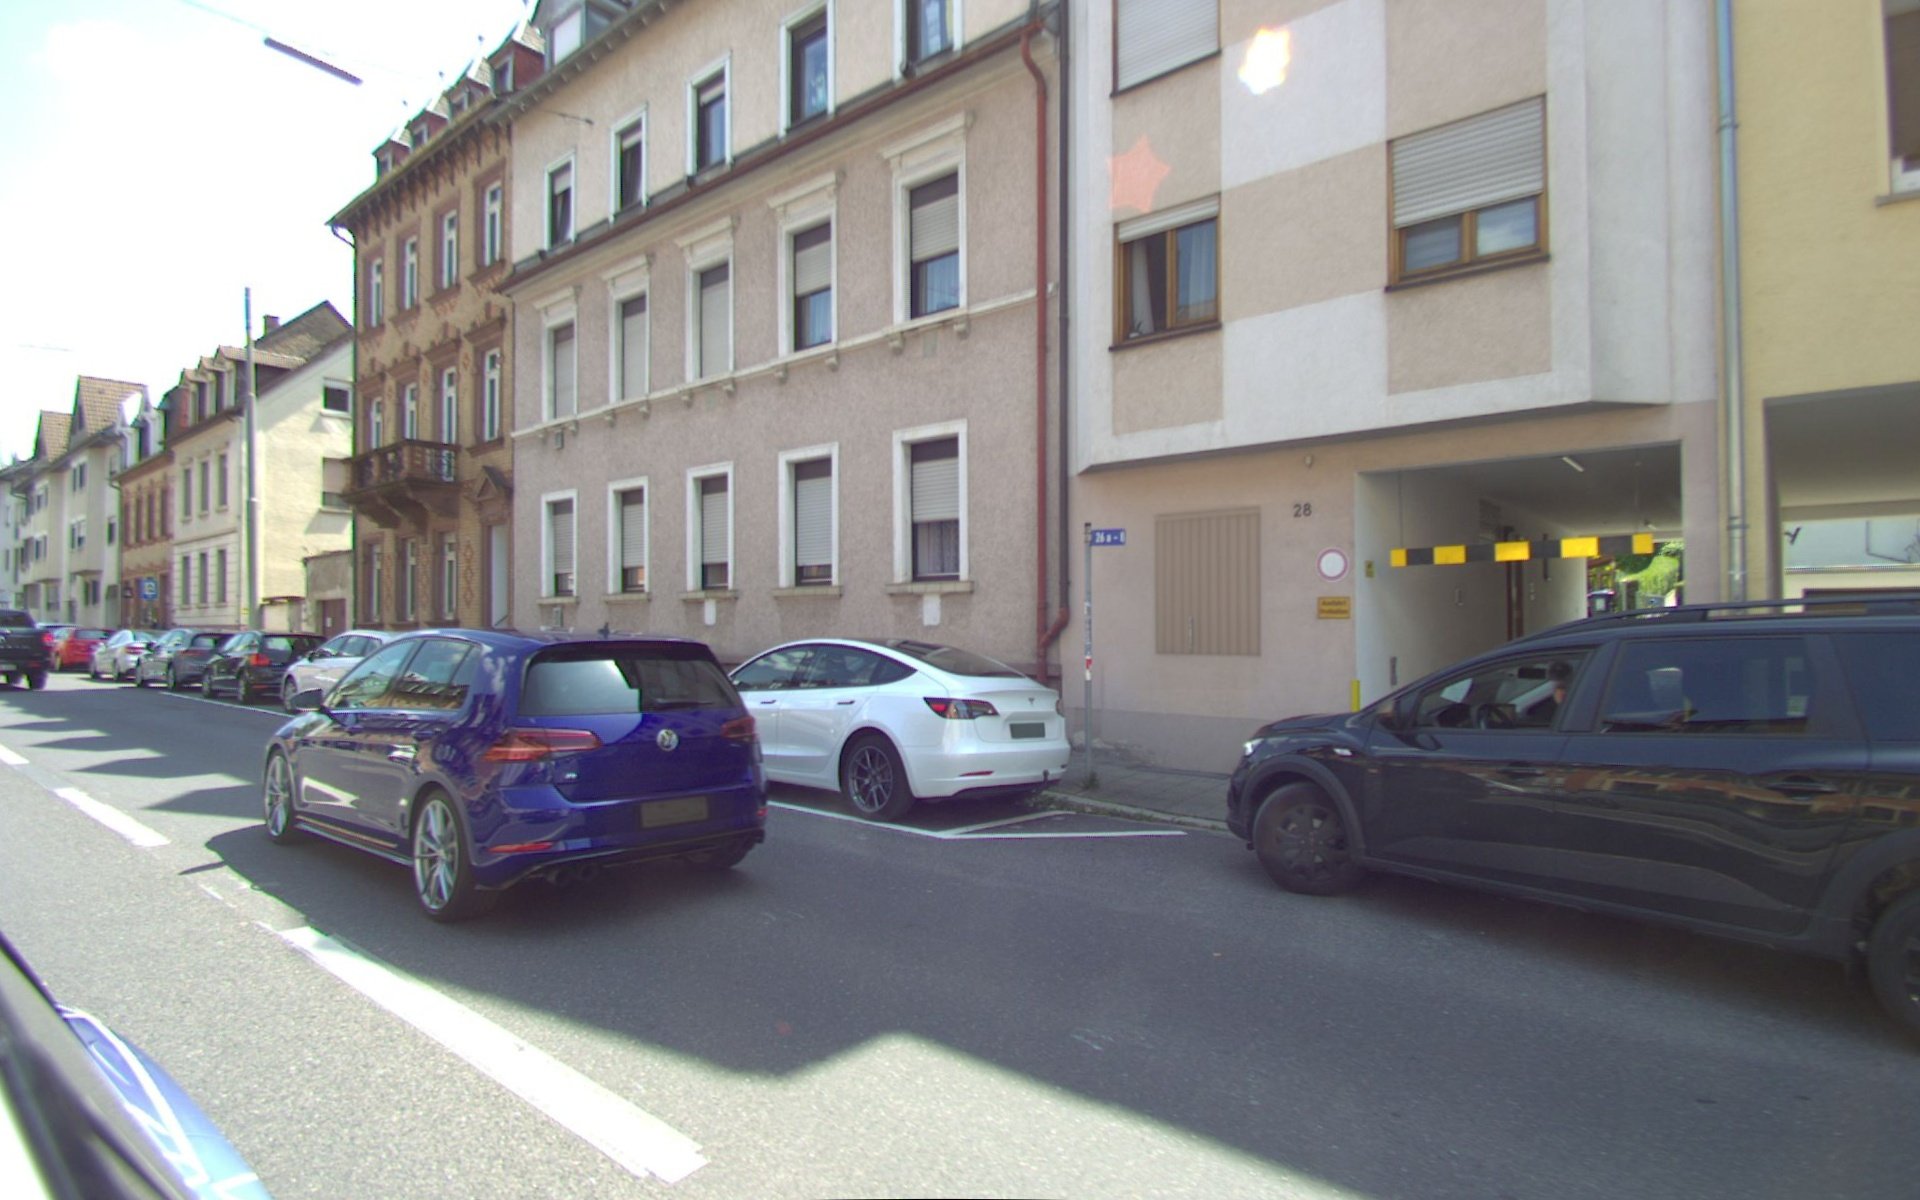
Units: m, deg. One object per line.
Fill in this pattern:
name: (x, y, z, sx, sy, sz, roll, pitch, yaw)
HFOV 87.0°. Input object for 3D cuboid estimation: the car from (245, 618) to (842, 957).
car: (-2.738, 0.829, 6.209, 3.998, 1.399, 1.797, -1, -2, 41)

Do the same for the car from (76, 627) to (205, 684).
car: (-22.803, 1.514, 28.102, 4.497, 1.433, 1.821, -1, -4, 39)

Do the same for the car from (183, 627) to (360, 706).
car: (-14.272, 1.337, 20.886, 4.500, 1.433, 1.821, -1, -6, 41)

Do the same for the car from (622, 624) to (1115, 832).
car: (-1.020, 0.989, 9.272, 4.555, 1.433, 1.820, -1, -5, 41)

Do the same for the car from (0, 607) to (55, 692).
car: (-22.534, 1.102, 23.212, 5.145, 1.806, 1.973, -1, -3, 41)

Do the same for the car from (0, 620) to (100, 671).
car: (-31.817, 1.578, 35.331, 4.497, 1.609, 1.821, -1, -5, 39)

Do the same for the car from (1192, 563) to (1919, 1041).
car: (3.497, 0.776, 4.999, 1.878, 1.650, 4.570, 3, -4, -32)

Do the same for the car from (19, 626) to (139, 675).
car: (-27.809, 1.575, 31.909, 4.493, 1.433, 1.823, -1, -5, 36)

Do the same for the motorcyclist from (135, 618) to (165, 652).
motorcyclist: (-30.427, 1.312, 38.011, 0.711, 1.257, 0.711, -1, -2, 38)

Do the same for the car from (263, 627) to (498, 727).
car: (-9.872, 1.227, 17.101, 4.495, 1.433, 1.822, -1, -4, 38)

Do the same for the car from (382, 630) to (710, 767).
car: (-5.469, 1.158, 13.116, 4.639, 1.433, 1.822, -1, -4, 38)

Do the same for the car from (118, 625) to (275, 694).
car: (-18.422, 1.410, 24.358, 4.496, 1.433, 1.822, -1, -6, 38)
